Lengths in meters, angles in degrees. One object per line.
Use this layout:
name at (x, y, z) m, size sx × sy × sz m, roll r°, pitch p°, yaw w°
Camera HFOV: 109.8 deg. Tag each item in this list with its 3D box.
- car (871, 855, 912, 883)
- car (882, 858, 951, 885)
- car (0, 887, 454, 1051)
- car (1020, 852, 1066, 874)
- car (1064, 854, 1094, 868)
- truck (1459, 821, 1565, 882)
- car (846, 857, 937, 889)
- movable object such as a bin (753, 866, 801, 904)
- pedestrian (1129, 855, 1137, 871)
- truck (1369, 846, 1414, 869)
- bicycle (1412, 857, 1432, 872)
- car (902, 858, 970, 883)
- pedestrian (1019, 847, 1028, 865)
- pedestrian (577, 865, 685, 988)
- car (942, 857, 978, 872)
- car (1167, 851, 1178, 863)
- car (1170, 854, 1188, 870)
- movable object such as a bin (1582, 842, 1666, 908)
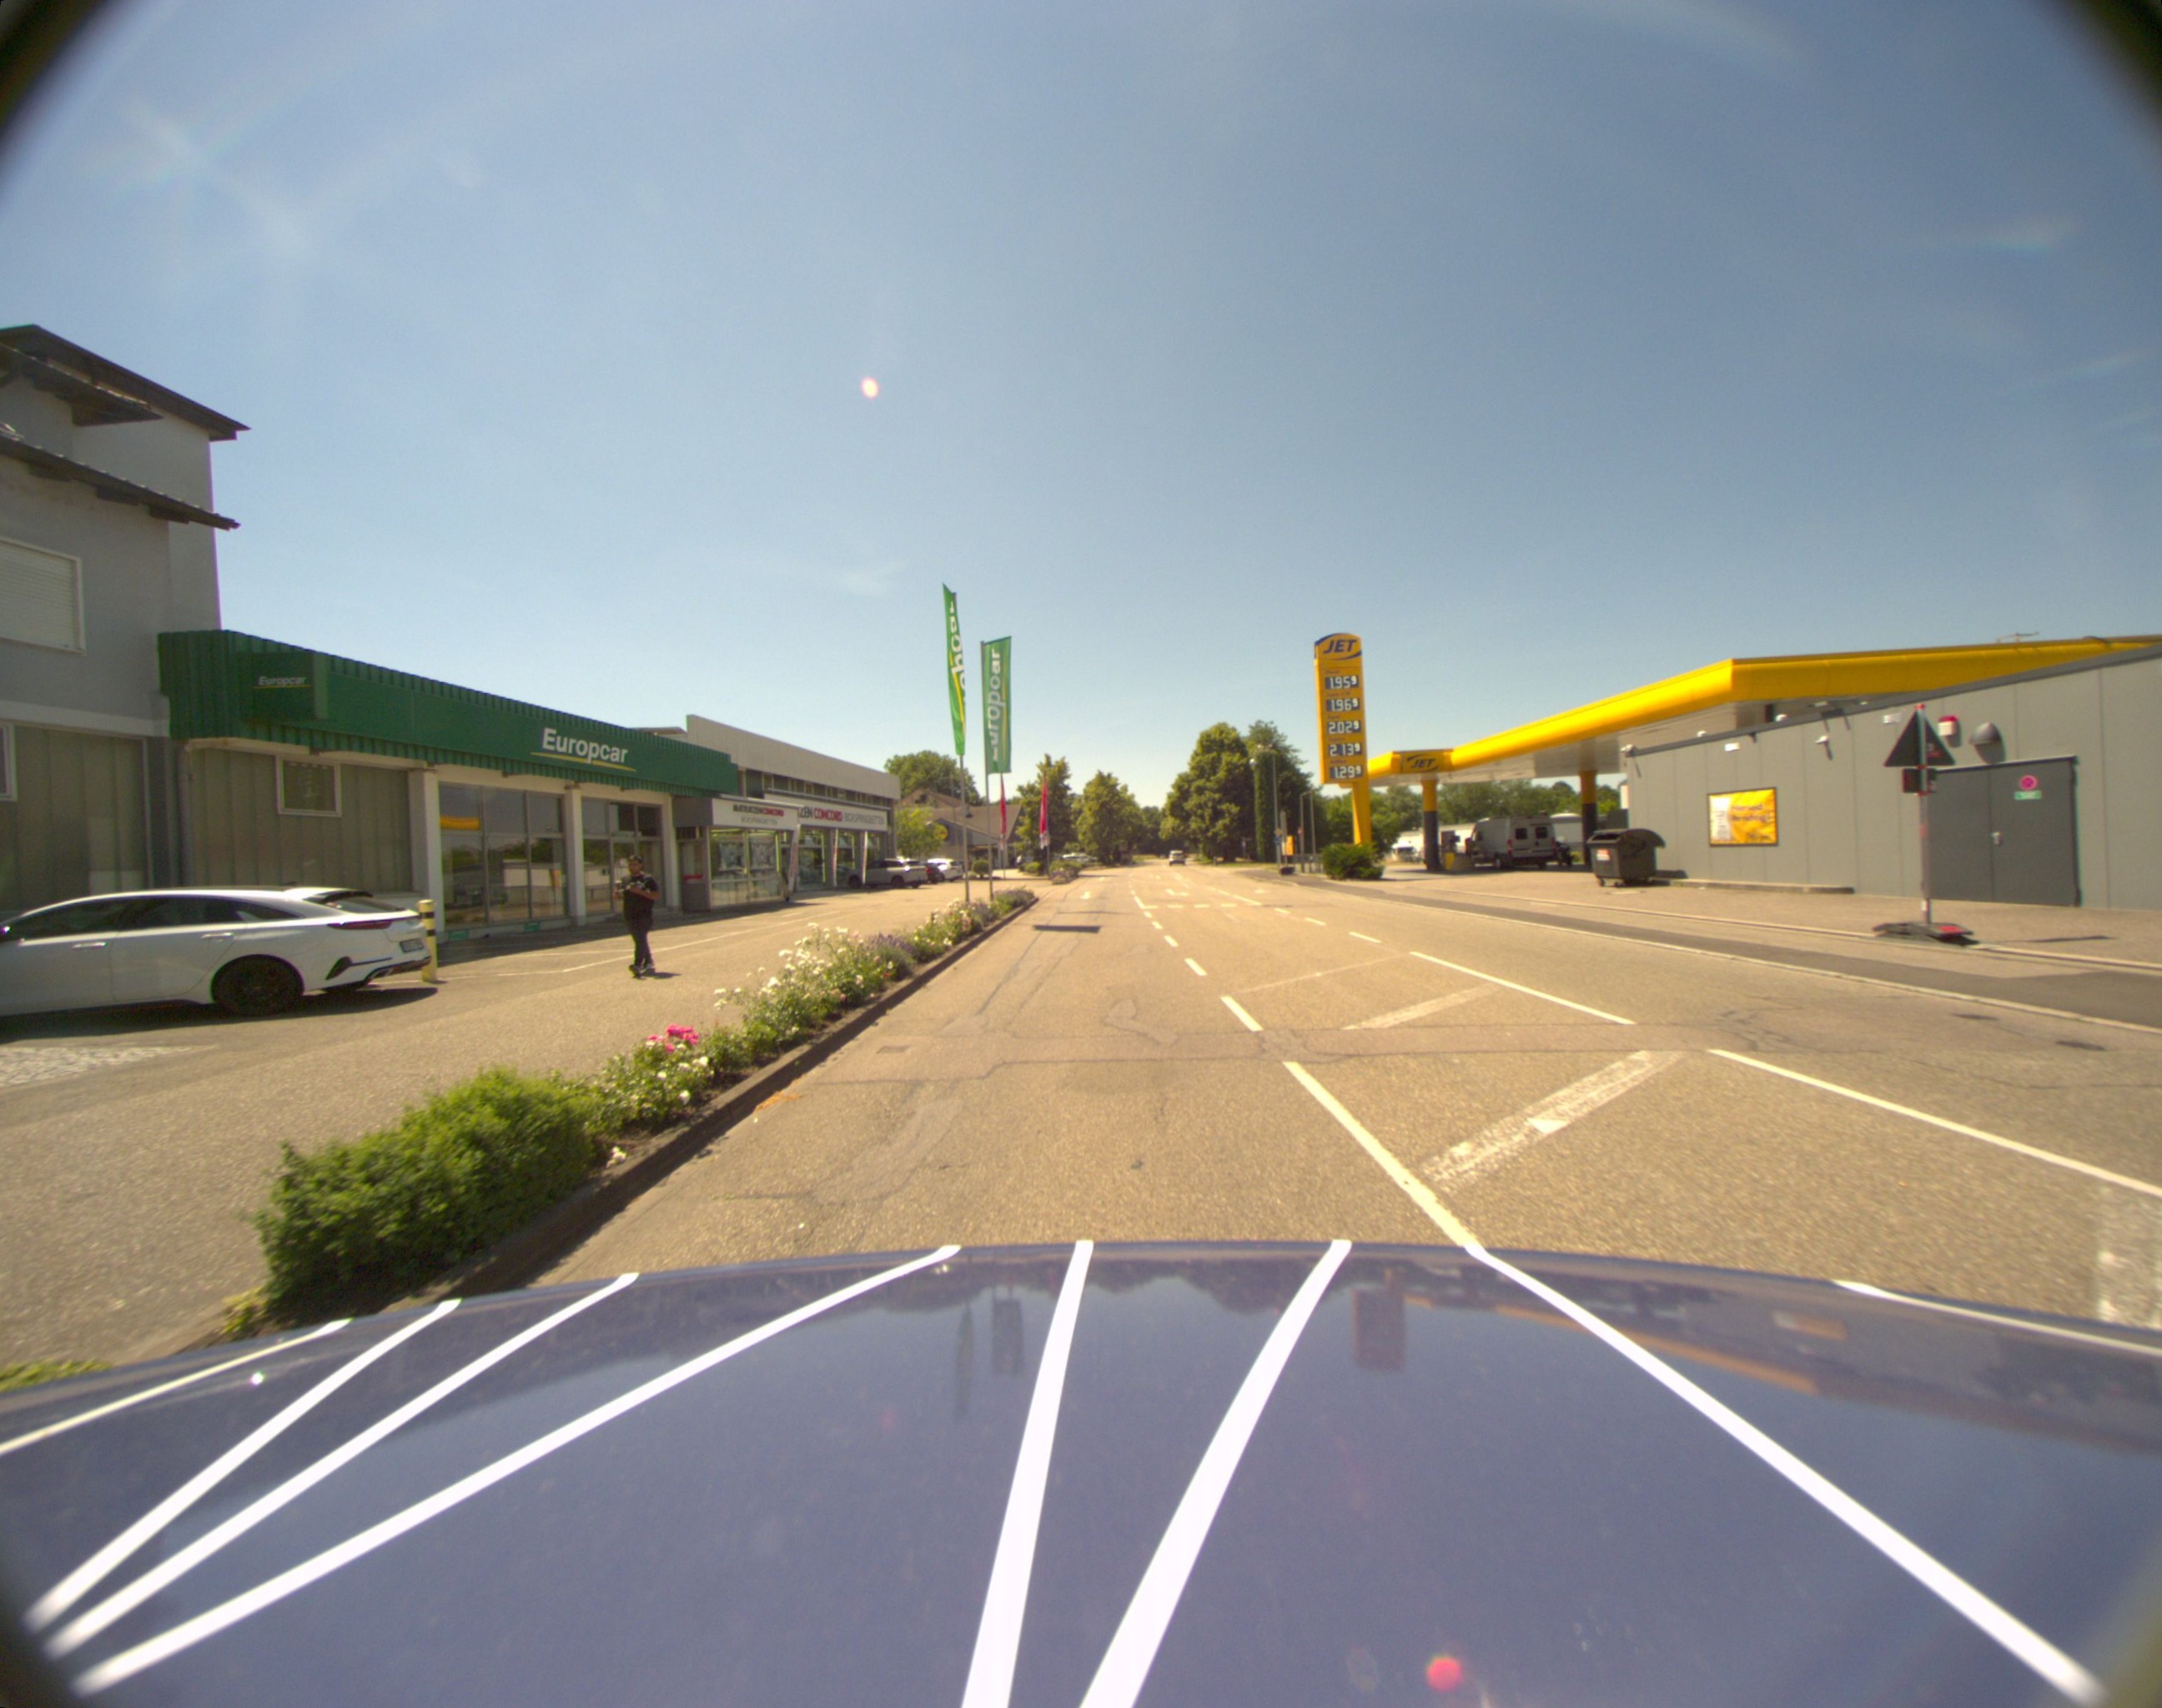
car at (-13.985, 1.060, 56.297) m, size 1.709 × 1.879 × 4.257 m, roll -2°, pitch 1°, yaw 2°
car at (-10.386, 1.106, 48.002) m, size 3.859 × 1.524 × 1.680 m, roll -1°, pitch 1°, yaw 20°
car at (-10.185, 1.211, 8.558) m, size 4.362 × 1.363 × 1.952 m, roll -3°, pitch 1°, yaw -21°
car at (-3.450, 0.805, 69.205) m, size 3.996 × 1.780 × 1.777 m, roll -2°, pitch 1°, yaw 3°
car at (-0.249, 0.783, 88.748) m, size 3.405 × 1.497 × 1.582 m, roll -2°, pitch 0°, yaw 2°
truck at (20.672, -0.153, 36.890) m, size 2.237 × 2.583 × 6.736 m, roll -2°, pitch 1°, yaw 9°
car at (-10.633, 1.084, 42.743) m, size 4.586 × 1.632 × 2.003 m, roll -2°, pitch 1°, yaw 21°
movable object such as a bin at (-11.867, 1.191, 29.673) m, size 1.566 × 1.414 × 0.702 m, roll 0°, pitch 1°, yaw 9°
pedestrian at (5.675, 0.982, 83.409) m, size 0.730 × 1.779 × 0.621 m, roll -2°, pitch 1°, yaw 15°
truck at (42.344, 0.480, 104.079) m, size 2.691 × 2.780 × 10.162 m, roll -3°, pitch 0°, yaw 5°
bicycle at (30.658, 0.953, 68.310) m, size 1.539 × 1.341 × 0.395 m, roll -1°, pitch 1°, yaw 12°
car at (-9.589, 1.076, 50.351) m, size 3.992 × 1.452 × 1.807 m, roll -2°, pitch 1°, yaw 17°
pedestrian at (-6.592, 0.195, 87.013) m, size 0.784 × 2.002 × 0.803 m, roll -2°, pitch 1°, yaw 5°
pedestrian at (-6.345, 0.989, 10.764) m, size 0.842 × 1.632 × 1.010 m, roll -1°, pitch 1°, yaw 6°
car at (-13.284, 1.123, 83.513) m, size 3.604 × 1.408 × 1.672 m, roll -3°, pitch 0°, yaw 6°
car at (17.443, 0.565, 145.219) m, size 1.799 × 1.761 × 4.369 m, roll 4°, pitch -4°, yaw 5°
car at (11.368, 0.899, 87.895) m, size 1.972 × 1.662 × 4.251 m, roll -2°, pitch 0°, yaw 9°
movable object such as a bin at (13.662, 0.520, 19.168) m, size 0.954 × 1.508 × 1.428 m, roll -6°, pitch -1°, yaw 2°
